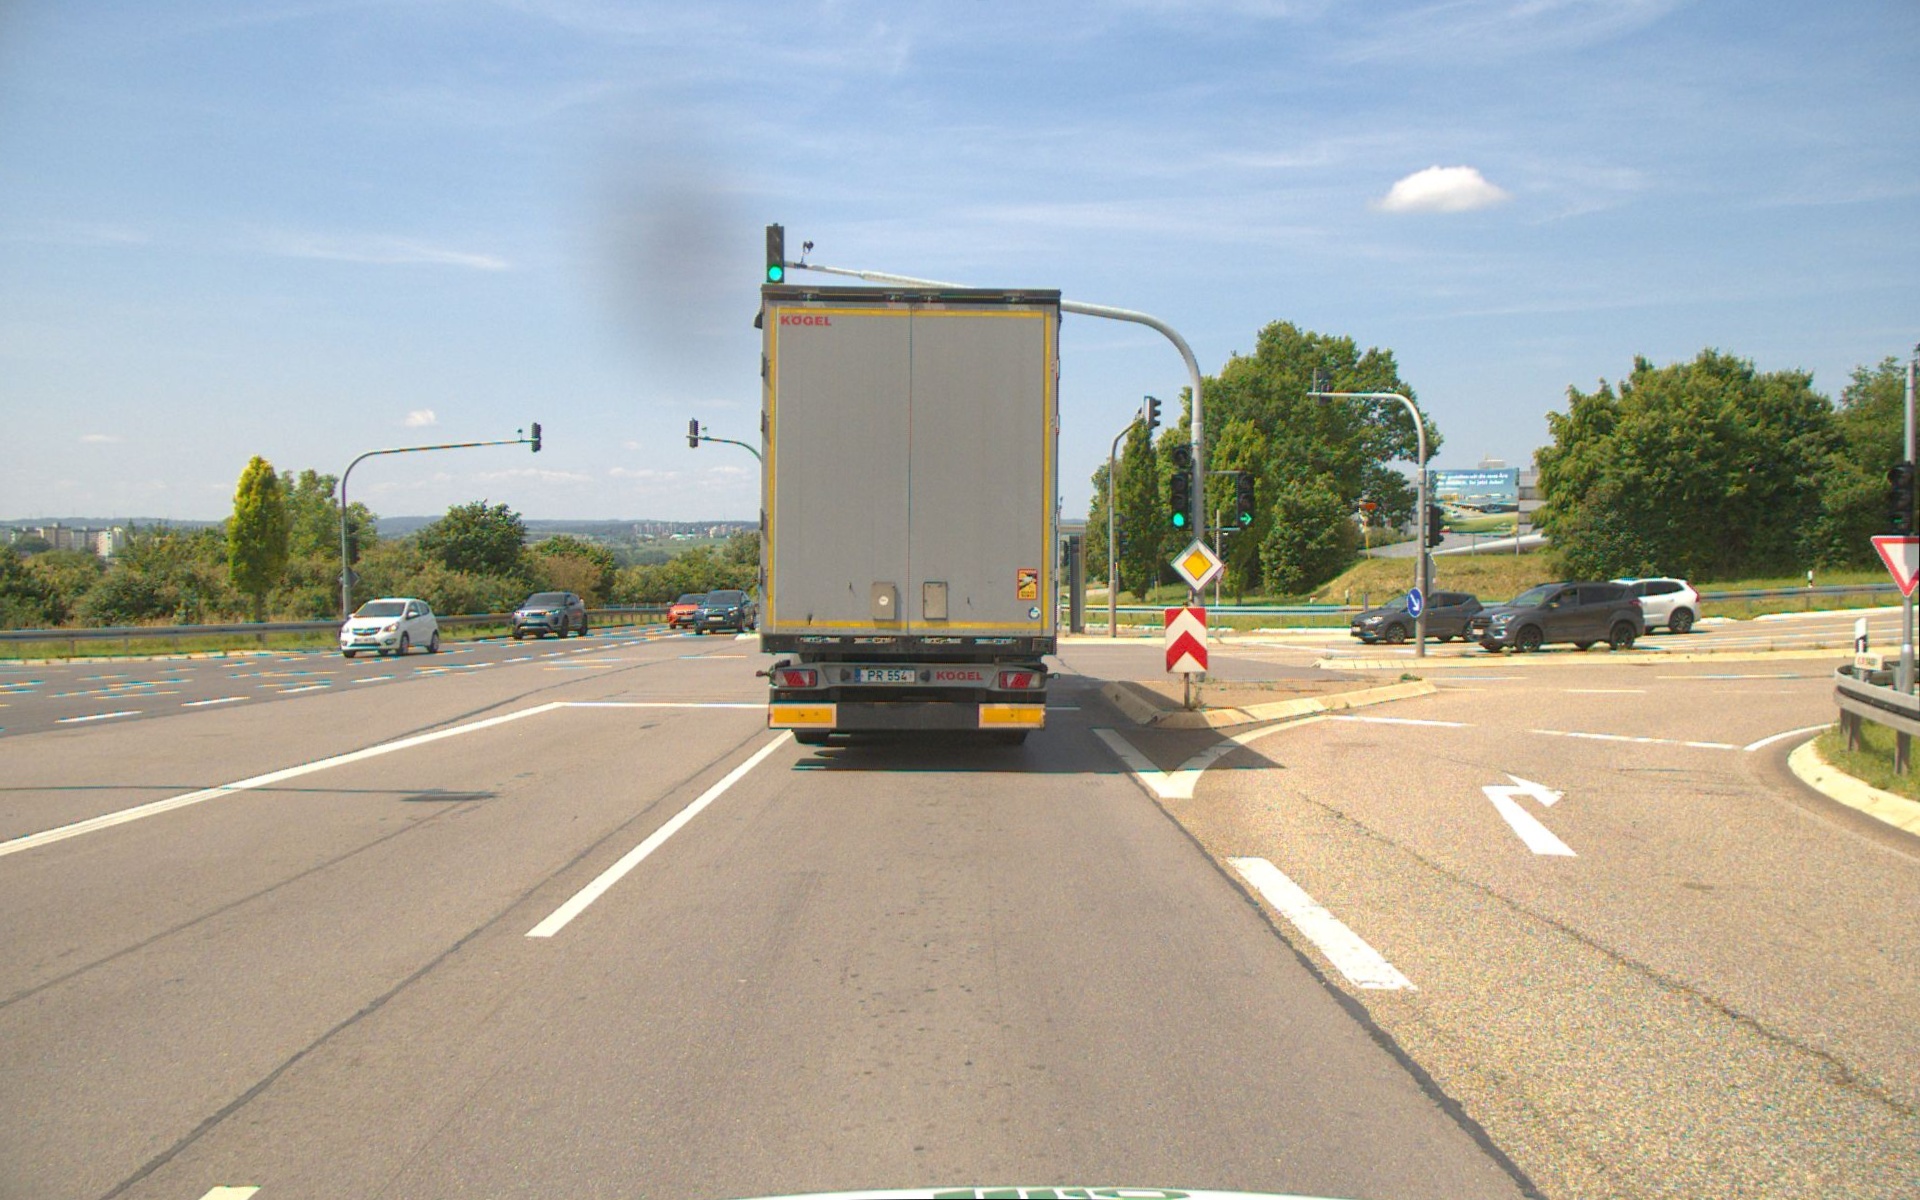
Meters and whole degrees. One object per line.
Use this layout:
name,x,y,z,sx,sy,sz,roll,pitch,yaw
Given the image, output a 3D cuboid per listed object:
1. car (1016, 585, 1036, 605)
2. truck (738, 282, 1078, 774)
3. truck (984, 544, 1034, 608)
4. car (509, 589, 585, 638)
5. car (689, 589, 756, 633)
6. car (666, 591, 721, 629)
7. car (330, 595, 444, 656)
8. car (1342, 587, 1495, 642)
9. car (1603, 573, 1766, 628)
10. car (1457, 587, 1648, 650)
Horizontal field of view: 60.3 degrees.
car,6.126,-0.461,153.574,1.749,1.717,4.002,1,0,4
truck,-0.706,-0.632,19.242,2.743,3.998,11.335,1,0,-3
truck,3.152,-1.419,104.493,2.599,3.830,10.167,1,0,4
car,-14.946,0.482,60.062,1.610,1.652,4.327,-2,0,0
car,-8.358,0.369,58.513,1.719,1.494,4.196,0,0,1
car,-11.512,0.404,71.593,1.610,1.523,4.067,-2,0,1
car,-15.213,0.659,44.080,1.610,1.523,3.802,-1,0,1
car,13.237,0.413,47.823,3.914,1.537,1.712,0,0,-10
car,21.909,0.007,50.091,4.278,1.620,1.776,0,0,-10
car,14.878,0.440,41.571,4.281,1.537,1.711,0,0,-12
